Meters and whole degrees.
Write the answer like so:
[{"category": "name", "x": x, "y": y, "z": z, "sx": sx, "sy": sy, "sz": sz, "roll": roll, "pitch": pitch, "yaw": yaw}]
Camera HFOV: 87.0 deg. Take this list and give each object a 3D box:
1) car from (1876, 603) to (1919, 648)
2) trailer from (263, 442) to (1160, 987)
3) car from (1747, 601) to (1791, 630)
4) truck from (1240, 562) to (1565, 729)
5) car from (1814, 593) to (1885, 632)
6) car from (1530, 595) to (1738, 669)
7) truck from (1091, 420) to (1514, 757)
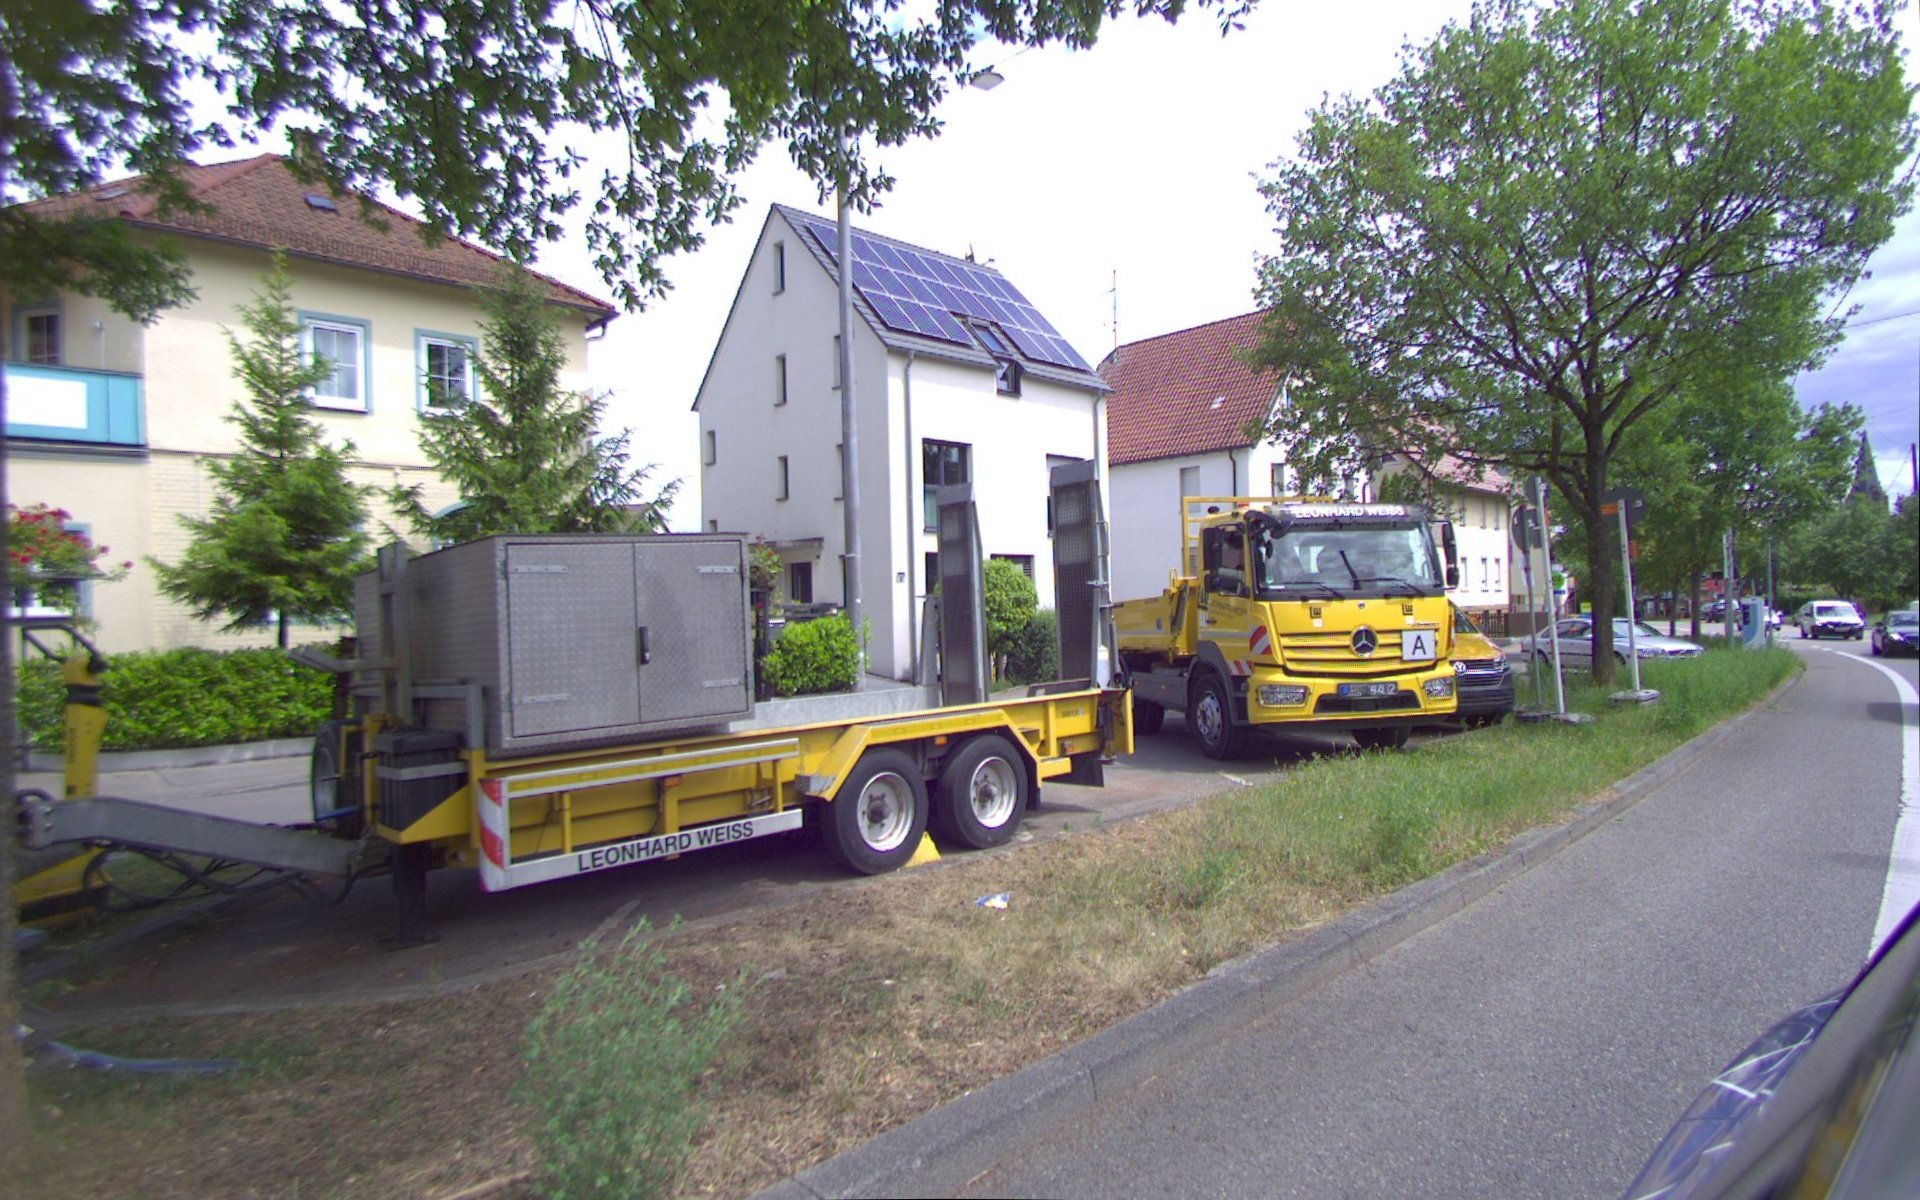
[{"category": "car", "x": 32.365, "y": 0.837, "z": 34.003, "sx": 3.932, "sy": 1.416, "sz": 1.996, "roll": 0, "pitch": 0, "yaw": -43}, {"category": "trailer", "x": -1.325, "y": 0.519, "z": 7.131, "sx": 5.580, "sy": 2.274, "sz": 2.593, "roll": 0, "pitch": -3, "yaw": -44}, {"category": "car", "x": 49.536, "y": 0.936, "z": 62.046, "sx": 1.989, "sy": 1.683, "sz": 3.946, "roll": -1, "pitch": -1, "yaw": 38}, {"category": "truck", "x": 6.303, "y": 0.675, "z": 15.503, "sx": 1.960, "sy": 2.040, "sz": 5.959, "roll": -1, "pitch": -2, "yaw": -4}, {"category": "car", "x": 41.384, "y": 0.558, "z": 47.186, "sx": 1.987, "sy": 1.751, "sz": 4.052, "roll": -1, "pitch": -1, "yaw": 35}, {"category": "car", "x": 16.028, "y": 0.695, "z": 24.376, "sx": 1.961, "sy": 1.598, "sz": 4.309, "roll": 0, "pitch": 0, "yaw": -3}, {"category": "truck", "x": 3.775, "y": 0.074, "z": 13.143, "sx": 2.294, "sy": 3.241, "sz": 6.637, "roll": 0, "pitch": -4, "yaw": -9}]
